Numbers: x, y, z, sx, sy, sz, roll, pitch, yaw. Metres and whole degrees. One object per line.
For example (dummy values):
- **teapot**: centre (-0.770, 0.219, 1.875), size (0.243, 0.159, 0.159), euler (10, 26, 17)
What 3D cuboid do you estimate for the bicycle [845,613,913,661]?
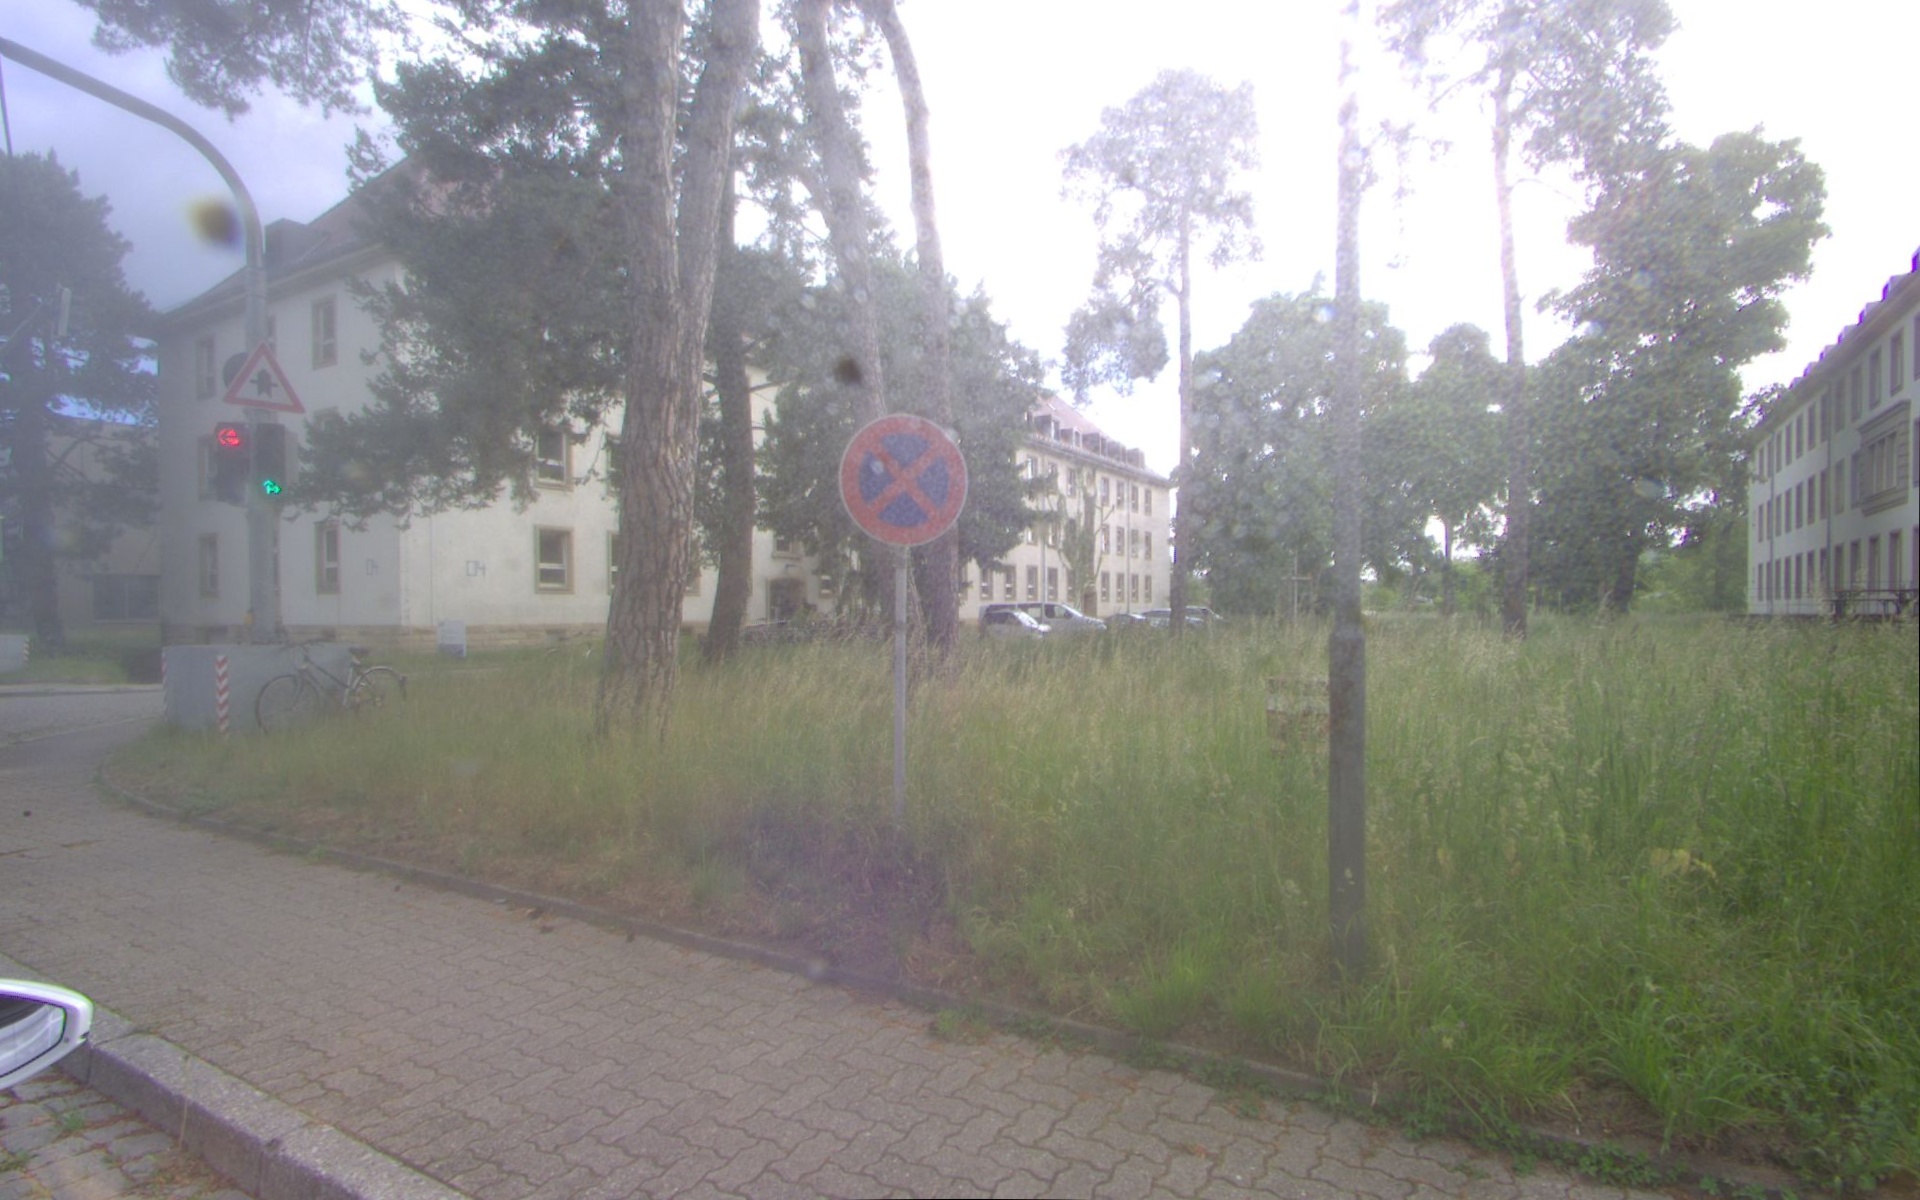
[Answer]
- **bicycle**: centre (-2.431, 1.085, 29.861), size (2.075, 1.385, 0.755), euler (0, 0, 37)

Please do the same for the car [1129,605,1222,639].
- **car**: centre (11.790, 1.184, 54.849), size (4.629, 1.796, 1.989), euler (0, -1, 33)

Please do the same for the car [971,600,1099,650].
- **car**: centre (3.023, 0.980, 40.173), size (4.774, 1.935, 2.237), euler (0, 0, 17)

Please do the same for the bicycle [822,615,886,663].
- **bicycle**: centre (-3.053, 1.093, 28.744), size (1.989, 1.337, 0.538), euler (0, 0, 37)

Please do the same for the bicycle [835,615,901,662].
- **bicycle**: centre (-2.701, 1.109, 29.193), size (2.104, 1.337, 0.553), euler (0, 0, 37)

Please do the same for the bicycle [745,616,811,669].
- **bicycle**: centre (-4.712, 1.073, 25.880), size (2.021, 1.337, 0.436), euler (0, 0, 37)

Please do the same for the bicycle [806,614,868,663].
- **bicycle**: centre (-3.498, 1.075, 28.358), size (1.913, 1.337, 0.551), euler (0, 0, 37)

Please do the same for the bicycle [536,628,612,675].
- **bicycle**: centre (-8.605, 1.135, 22.380), size (0.522, 0.993, 1.618), euler (0, 0, 31)

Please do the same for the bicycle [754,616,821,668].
- **bicycle**: centre (-4.578, 1.092, 26.466), size (1.950, 1.337, 0.574), euler (0, 0, 37)

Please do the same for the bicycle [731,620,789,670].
- **bicycle**: centre (-5.109, 1.121, 25.533), size (1.618, 1.231, 0.539), euler (0, 0, 37)

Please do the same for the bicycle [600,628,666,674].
- **bicycle**: centre (-7.803, 1.199, 23.949), size (0.535, 1.027, 1.534), euler (0, 0, 31)

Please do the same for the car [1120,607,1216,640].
- **car**: centre (10.733, 1.209, 51.747), size (4.452, 1.639, 1.989), euler (0, -1, 33)

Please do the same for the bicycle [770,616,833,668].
- **bicycle**: centre (-4.289, 1.110, 26.980), size (1.895, 1.337, 0.504), euler (0, 0, 37)

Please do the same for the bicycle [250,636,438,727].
- **bicycle**: centre (-6.746, 0.860, 11.053), size (0.564, 0.885, 1.697), euler (0, 0, 32)

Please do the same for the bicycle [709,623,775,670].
- **bicycle**: centre (-5.471, 1.149, 25.078), size (1.877, 1.116, 0.539), euler (0, 0, 37)

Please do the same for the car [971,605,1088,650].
- **car**: centre (2.525, 0.982, 36.577), size (3.877, 1.550, 1.852), euler (0, 0, 34)

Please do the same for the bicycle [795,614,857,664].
- **bicycle**: centre (-3.729, 1.059, 27.785), size (1.829, 1.337, 0.553), euler (0, 0, 37)

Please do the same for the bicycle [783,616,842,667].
- **bicycle**: centre (-4.031, 1.122, 27.349), size (1.893, 1.337, 0.390), euler (0, 0, 37)

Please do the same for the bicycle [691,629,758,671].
- **bicycle**: centre (-5.768, 1.200, 24.495), size (1.877, 0.961, 0.539), euler (0, 0, 37)
